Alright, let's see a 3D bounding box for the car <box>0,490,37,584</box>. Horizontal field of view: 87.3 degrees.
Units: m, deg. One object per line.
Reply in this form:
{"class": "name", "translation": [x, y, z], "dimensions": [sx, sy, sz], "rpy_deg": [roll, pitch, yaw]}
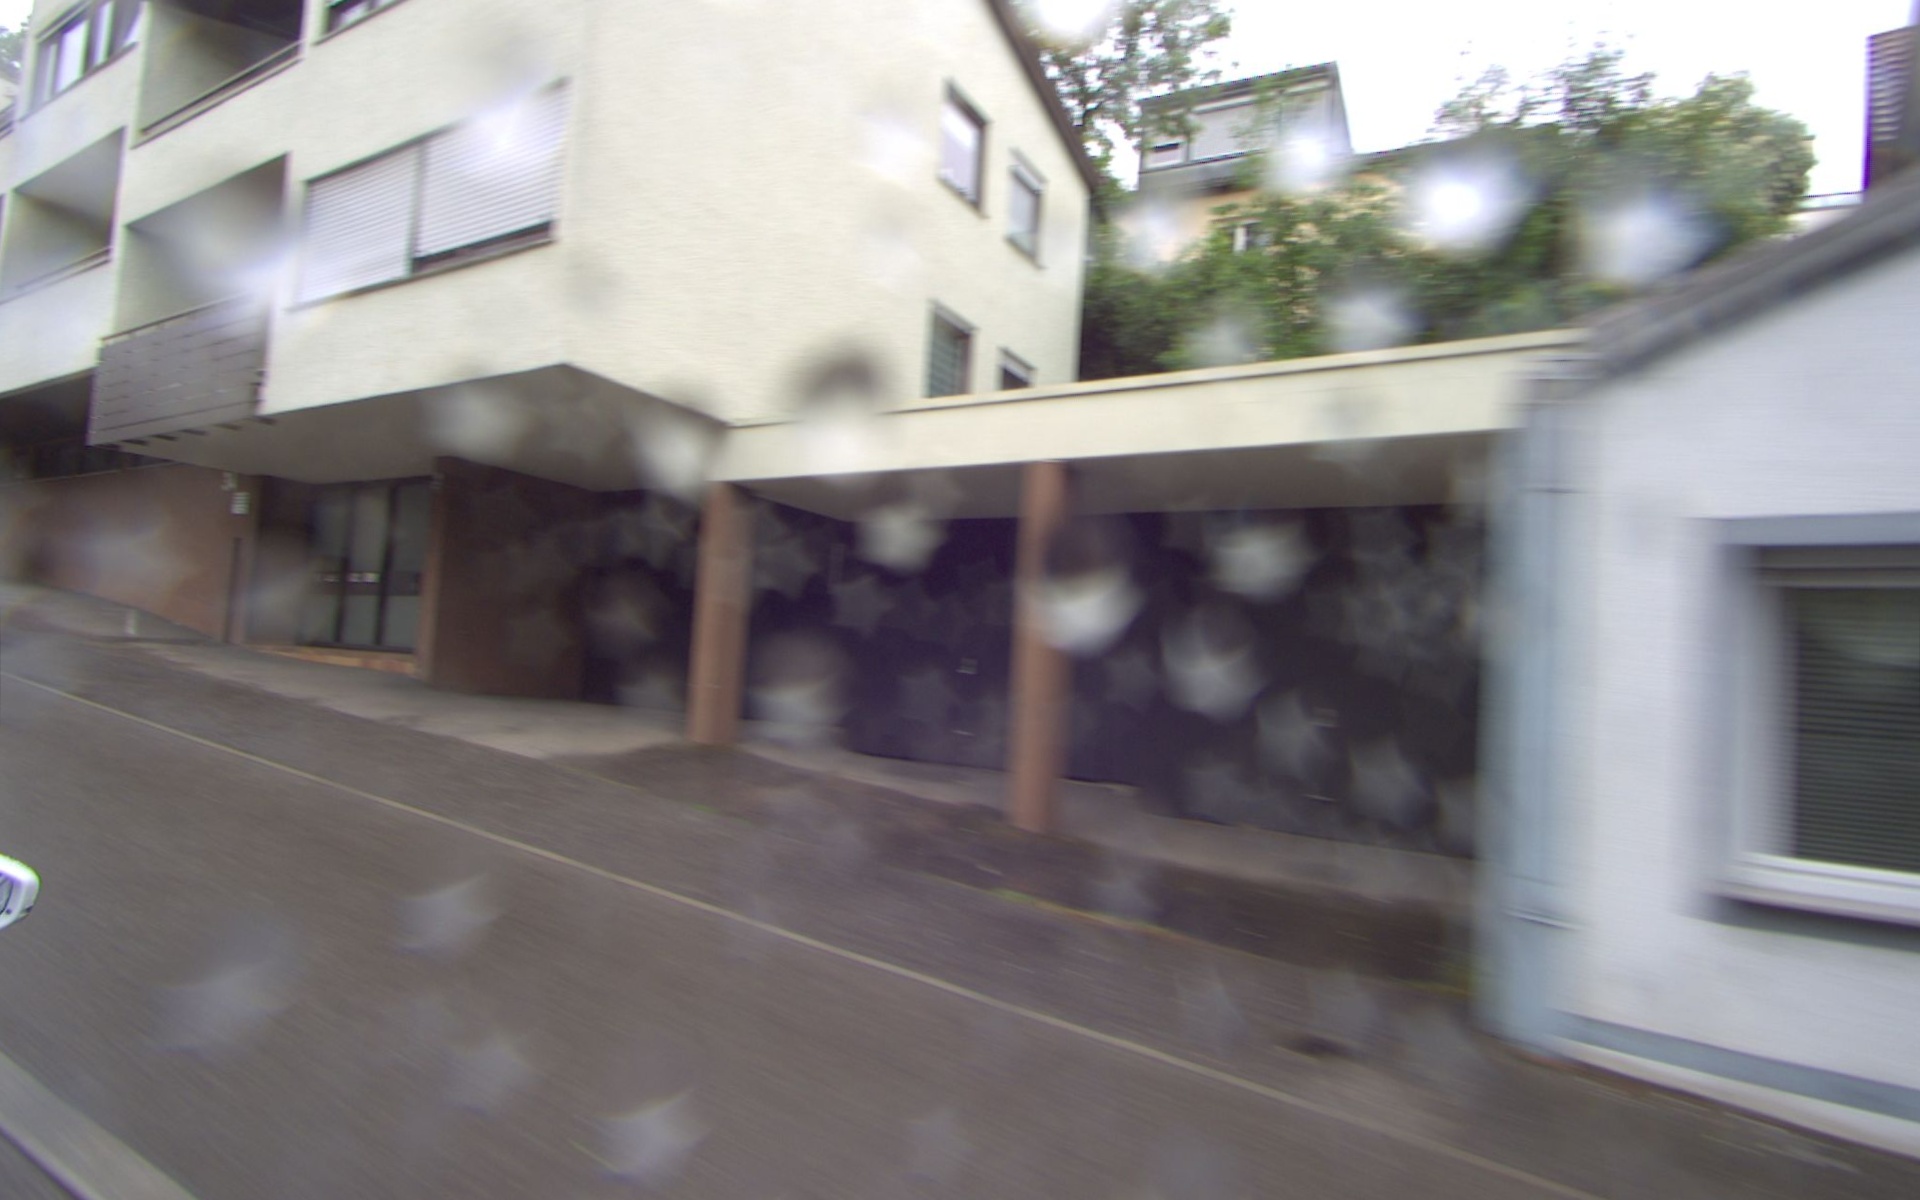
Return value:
{"class": "car", "translation": [-16.972, -1.194, 16.592], "dimensions": [1.773, 1.595, 4.031], "rpy_deg": [11, -3, -34]}
